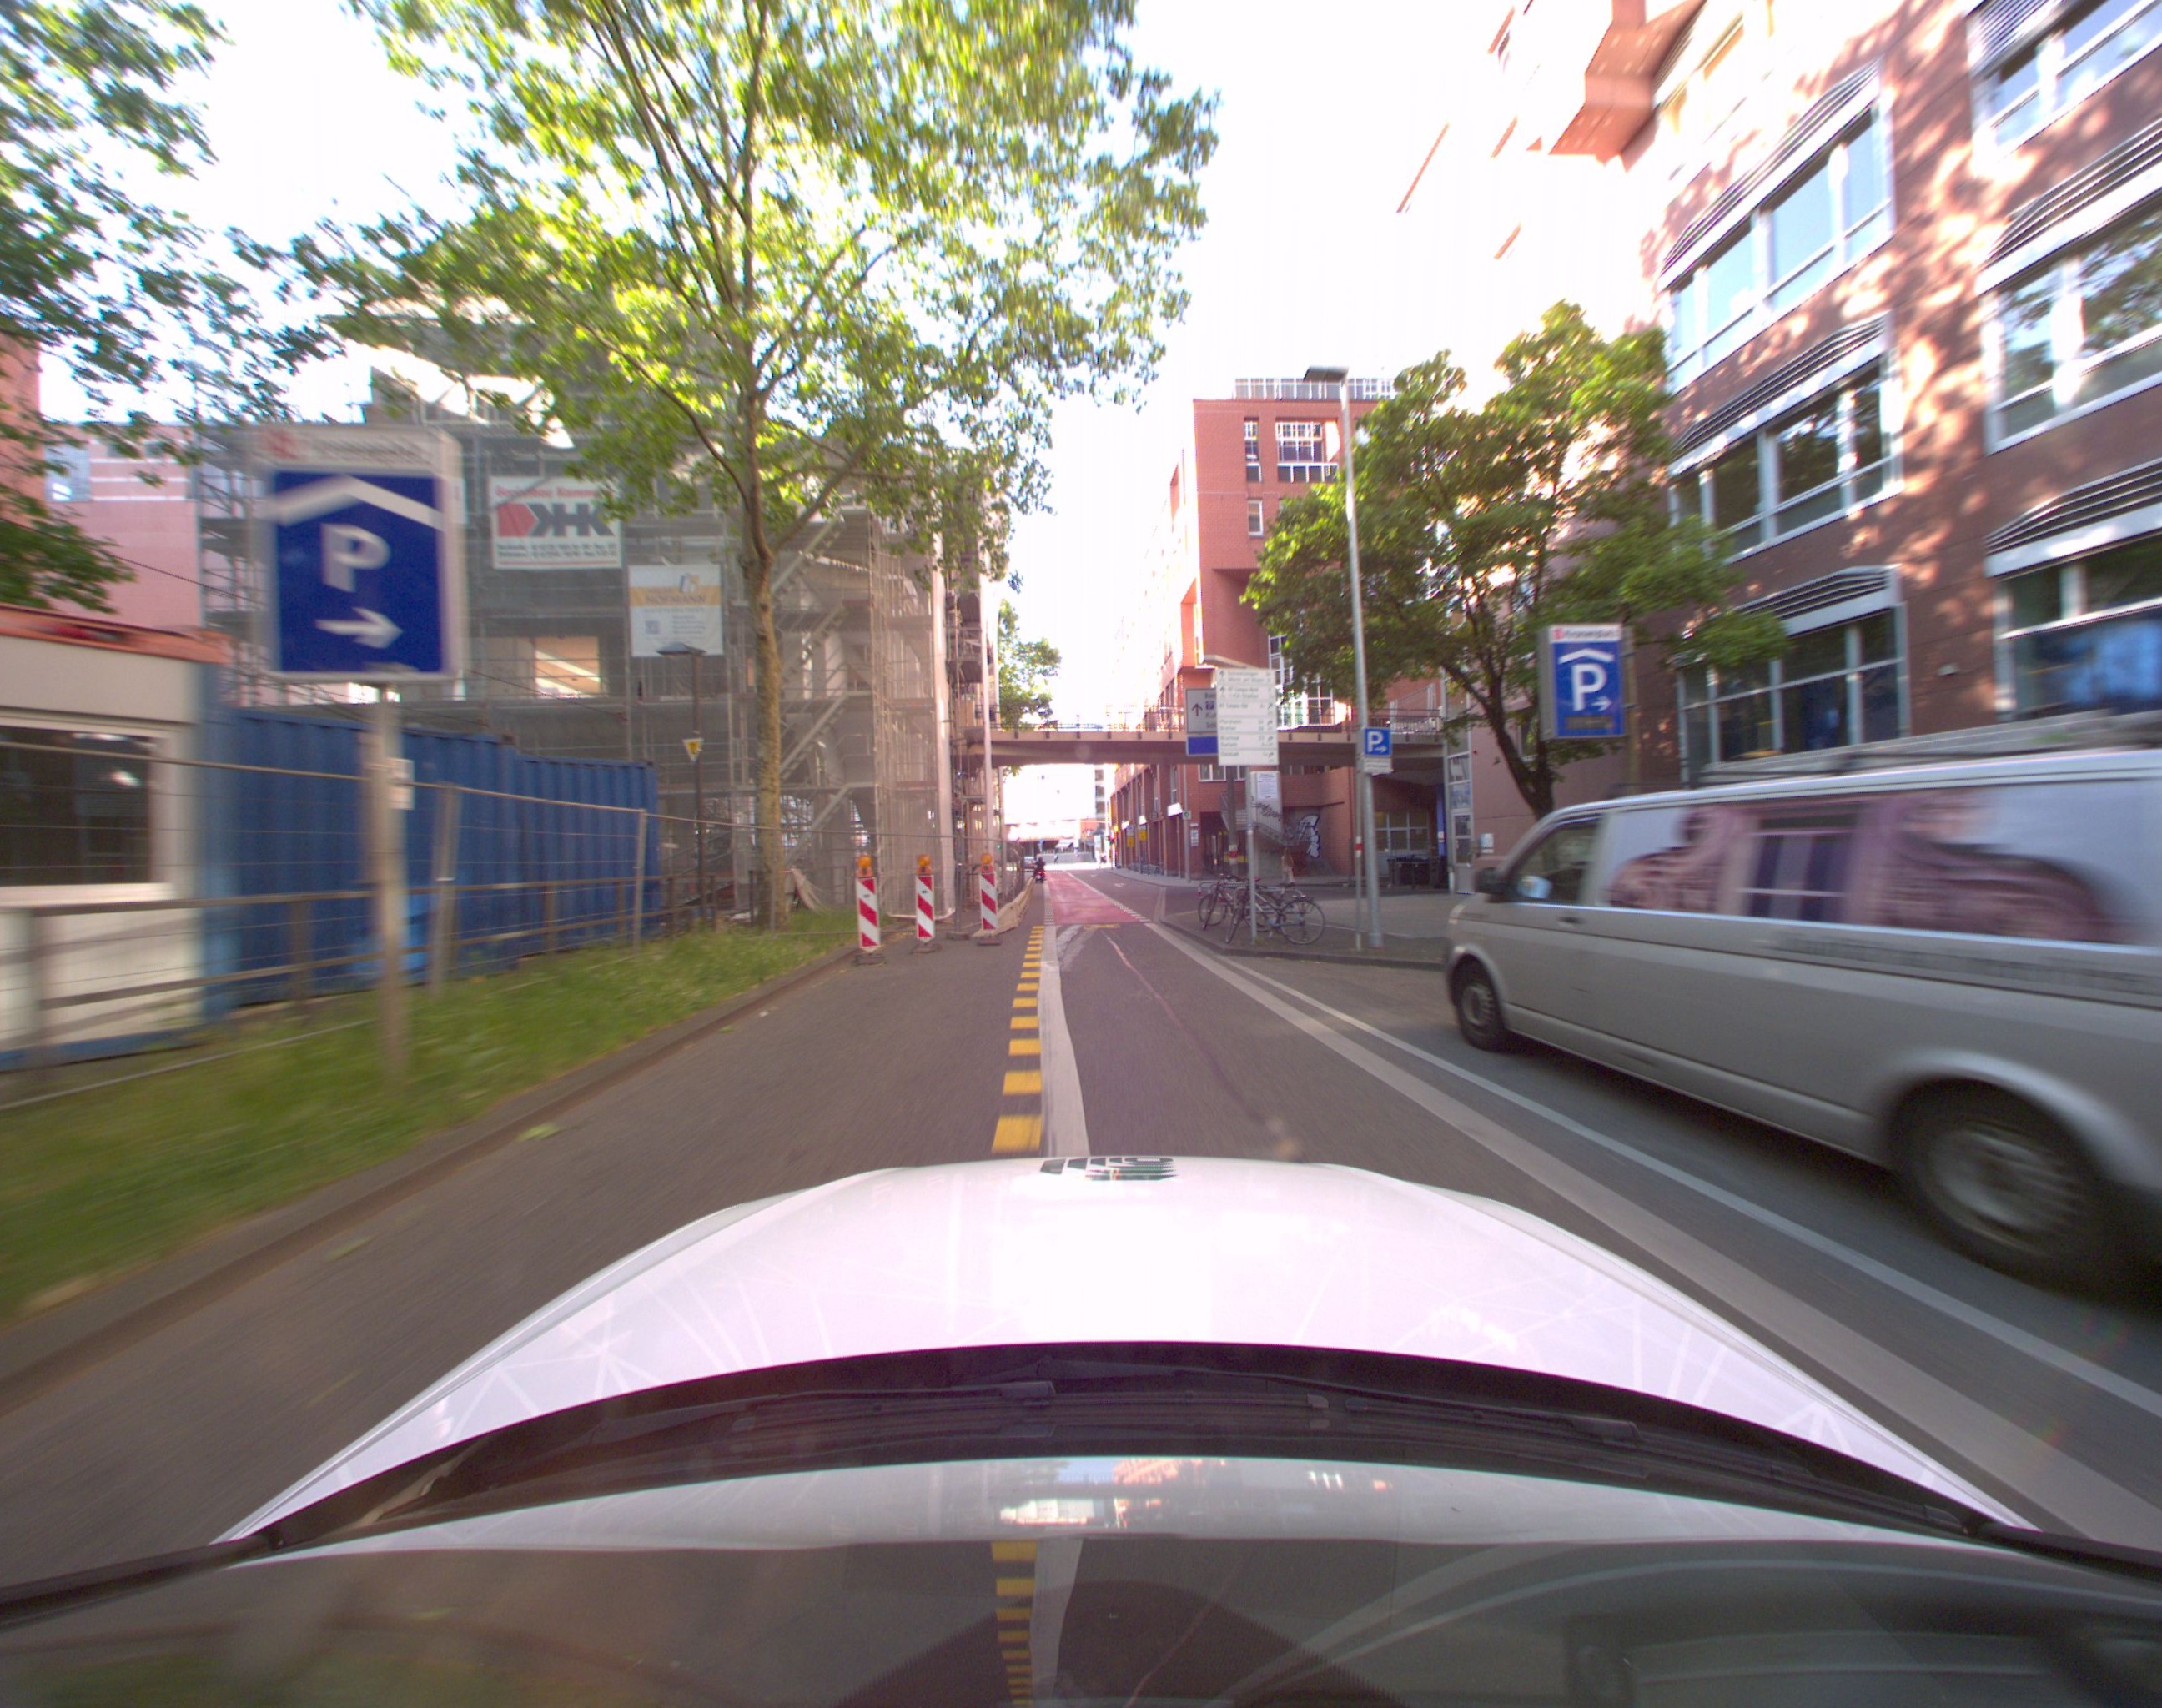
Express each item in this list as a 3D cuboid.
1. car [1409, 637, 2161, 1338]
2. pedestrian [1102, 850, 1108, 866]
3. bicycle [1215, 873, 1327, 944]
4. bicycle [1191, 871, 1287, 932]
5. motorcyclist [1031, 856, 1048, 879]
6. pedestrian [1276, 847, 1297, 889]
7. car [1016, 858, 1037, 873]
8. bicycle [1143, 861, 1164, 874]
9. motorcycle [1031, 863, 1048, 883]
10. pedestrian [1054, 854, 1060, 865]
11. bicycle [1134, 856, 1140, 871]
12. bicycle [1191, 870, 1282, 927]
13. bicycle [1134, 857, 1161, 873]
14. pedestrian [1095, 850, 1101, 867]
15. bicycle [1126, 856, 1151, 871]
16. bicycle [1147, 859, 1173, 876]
[{"bbox_3d":[4.011,0.377,4.600,1.915,2.078,5.163,-2,0,-4],"label":"car"},{"bbox_3d":[2.572,0.414,87.170,0.632,1.725,0.629,-2,0,-4],"label":"pedestrian"},{"bbox_3d":[3.033,0.863,12.991,1.663,1.067,0.514,-1,0,19],"label":"bicycle"},{"bbox_3d":[2.935,0.872,15.225,1.661,1.067,0.504,-2,0,31],"label":"bicycle"},{"bbox_3d":[-2.520,0.813,49.091,0.968,1.347,1.136,-1,0,-4],"label":"motorcyclist"},{"bbox_3d":[8.067,0.540,31.961,0.568,1.633,0.776,-1,0,-4],"label":"pedestrian"},{"bbox_3d":[-5.572,1.167,82.376,1.921,1.388,3.991,-2,0,-6],"label":"car"},{"bbox_3d":[5.055,0.946,56.958,1.330,0.841,0.424,-5,0,-2],"label":"bicycle"},{"bbox_3d":[-2.496,1.125,48.758,0.971,1.132,2.801,-1,0,-4],"label":"motorcycle"},{"bbox_3d":[-3.573,0.809,121.239,0.550,1.583,0.544,-2,0,44],"label":"pedestrian"},{"bbox_3d":[4.701,0.791,68.639,0.339,1.183,1.677,-2,0,-2],"label":"bicycle"},{"bbox_3d":[3.045,0.868,16.024,1.661,1.067,0.504,-2,0,31],"label":"bicycle"},{"bbox_3d":[4.976,0.842,61.055,1.887,1.119,0.549,-3,0,-4],"label":"bicycle"},{"bbox_3d":[1.835,0.492,87.080,0.475,1.792,0.540,-2,0,-4],"label":"pedestrian"},{"bbox_3d":[4.608,0.771,65.079,1.887,1.119,0.474,-3,0,-4],"label":"bicycle"},{"bbox_3d":[5.256,0.901,54.217,1.607,0.955,0.554,-5,0,-2],"label":"bicycle"}]
